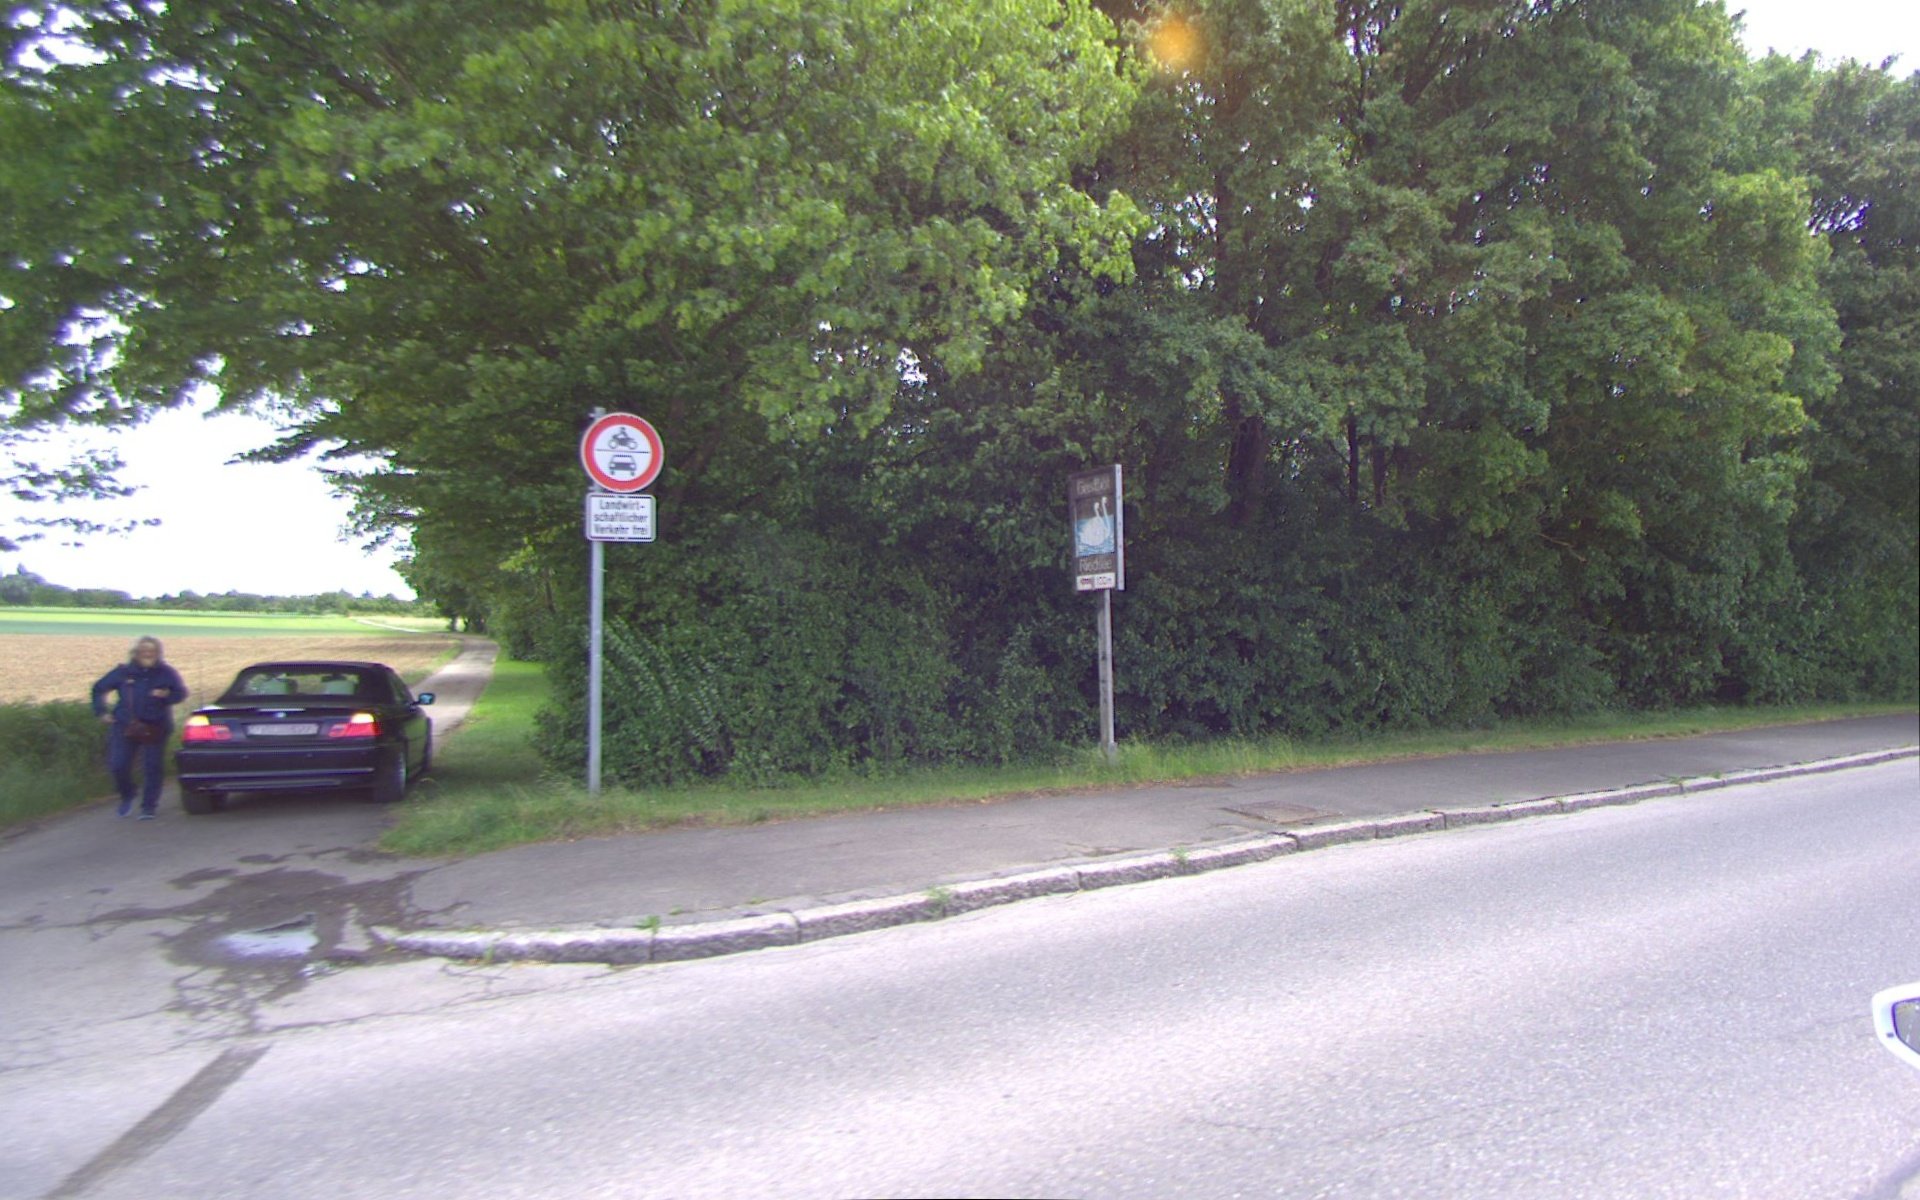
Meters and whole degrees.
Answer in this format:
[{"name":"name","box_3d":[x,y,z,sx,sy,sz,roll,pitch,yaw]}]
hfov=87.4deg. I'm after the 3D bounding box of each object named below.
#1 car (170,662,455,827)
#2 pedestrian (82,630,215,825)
[{"name":"car","box_3d":[-6.392,1.313,10.400,1.719,1.328,3.980,1,-4,-22]},{"name":"pedestrian","box_3d":[-7.168,1.089,8.908,0.696,1.615,0.704,-1,0,-20]}]
